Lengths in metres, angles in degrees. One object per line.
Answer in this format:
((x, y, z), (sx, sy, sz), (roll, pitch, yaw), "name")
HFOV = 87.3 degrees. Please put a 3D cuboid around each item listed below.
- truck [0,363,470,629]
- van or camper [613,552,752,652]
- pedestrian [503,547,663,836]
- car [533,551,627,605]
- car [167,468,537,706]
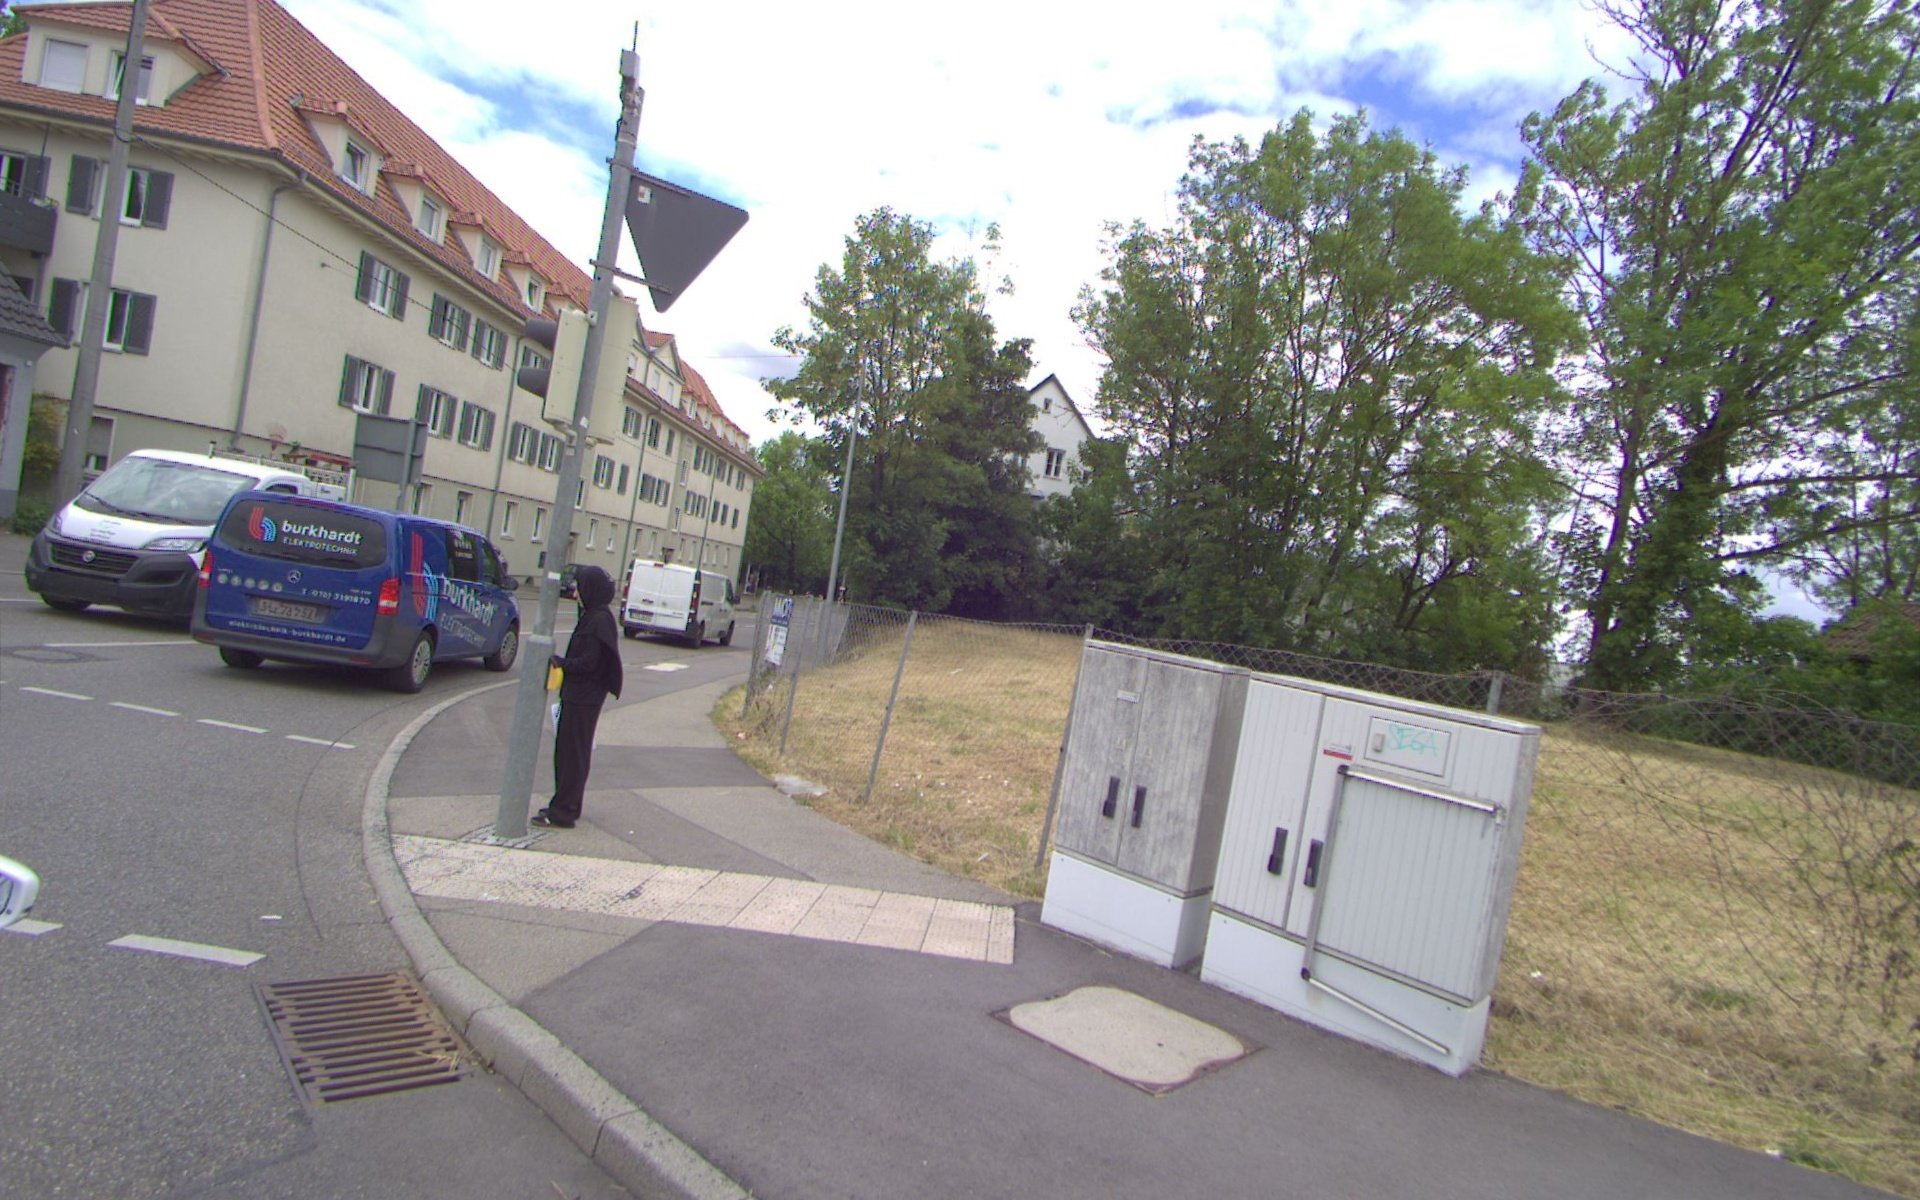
((-9.806, -1.084, 14.606), (1.963, 2.732, 6.410), (8, -2, 0), "truck")
((-7.072, 0.130, 26.271), (1.964, 2.036, 5.098), (10, -2, 0), "van or camper")
((-2.269, 0.536, 6.115), (0.598, 1.617, 0.606), (6, 0, -2), "pedestrian")
((-15.419, -0.860, 41.046), (1.963, 1.771, 4.001), (8, -1, 2), "car")
((-6.705, -0.129, 11.822), (1.922, 1.989, 4.534), (8, 0, -9), "car")
